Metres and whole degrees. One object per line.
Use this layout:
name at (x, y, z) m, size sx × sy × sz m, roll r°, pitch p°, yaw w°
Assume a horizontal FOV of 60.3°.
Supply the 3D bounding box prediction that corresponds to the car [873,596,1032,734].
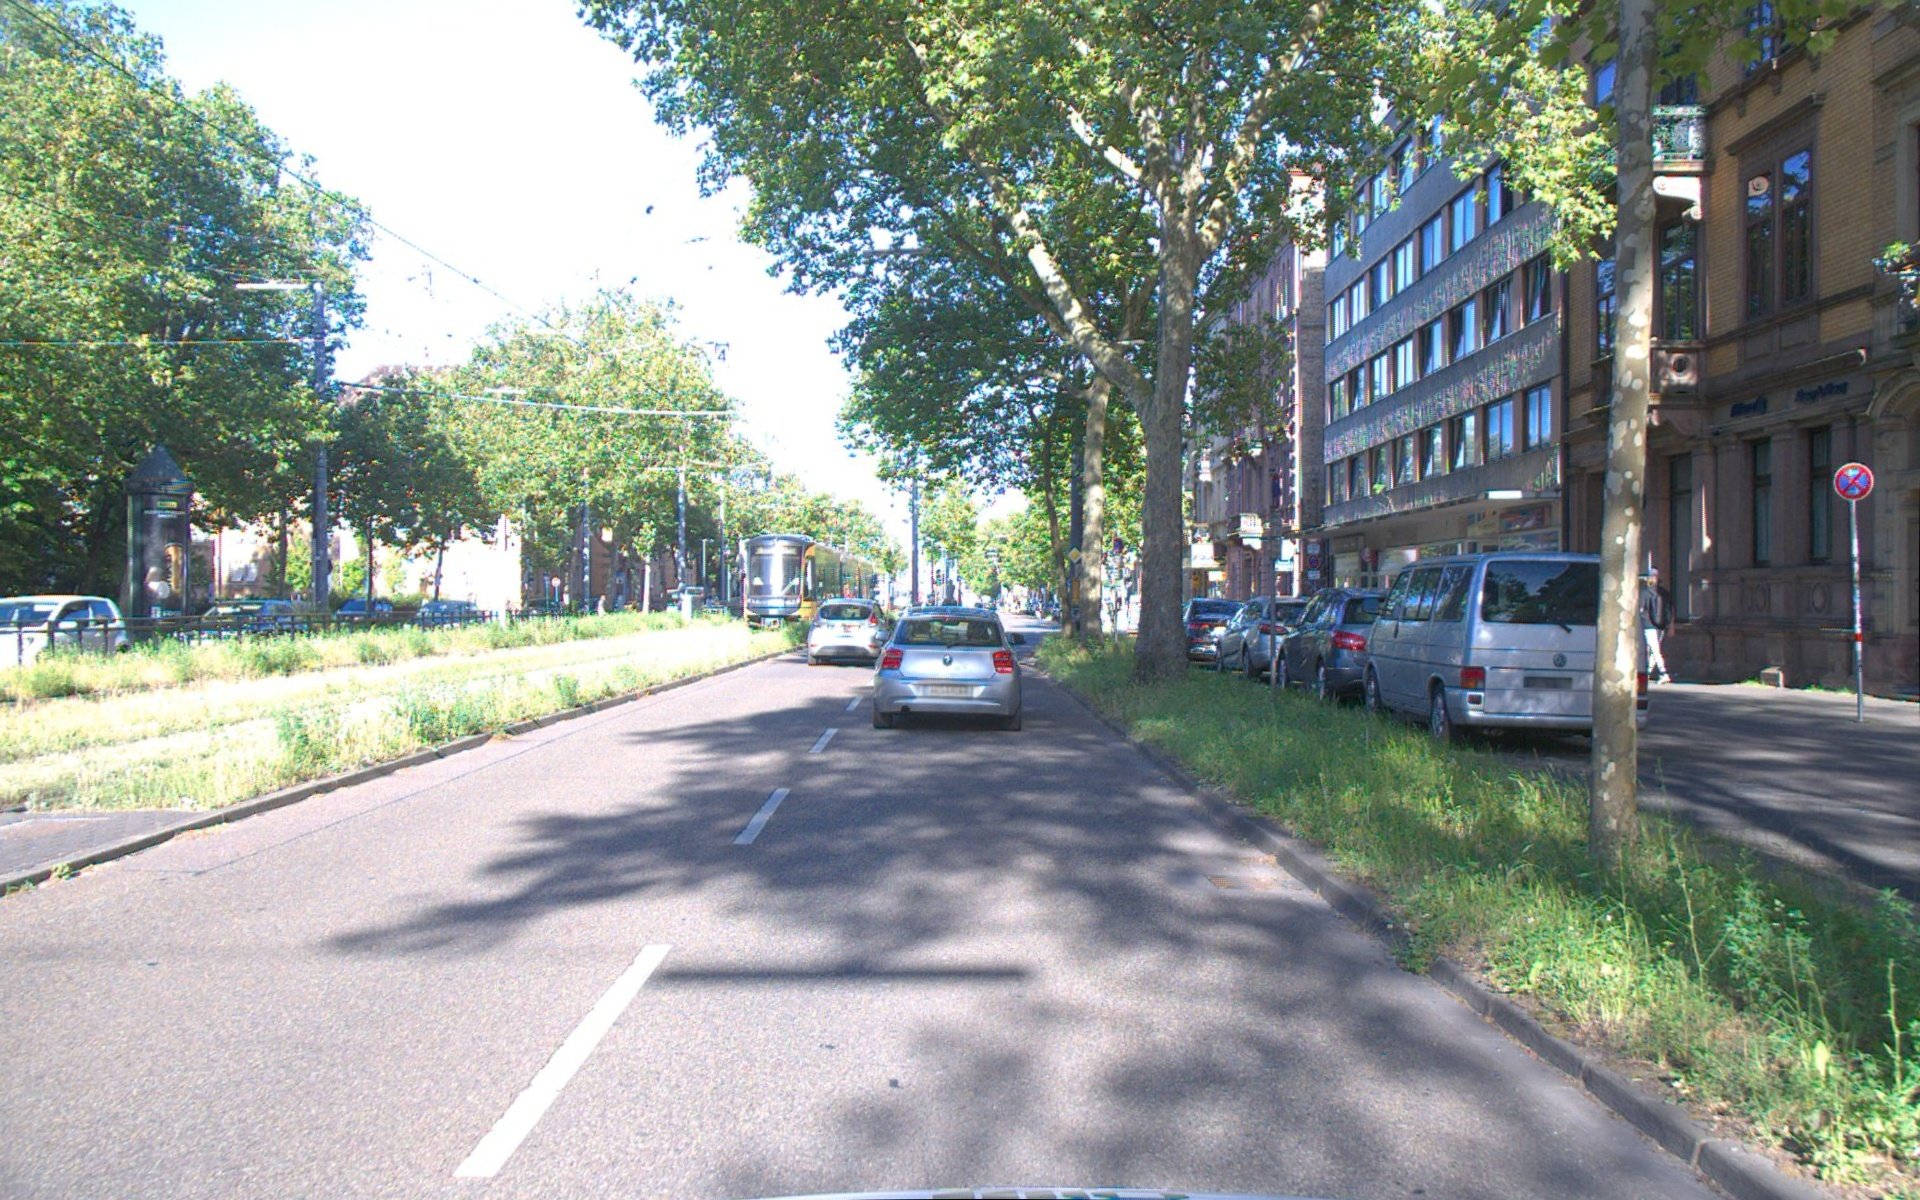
car at (-0.079, 0.720, 20.495) m, size 1.726 × 1.457 × 4.000 m, roll 2°, pitch 1°, yaw 0°

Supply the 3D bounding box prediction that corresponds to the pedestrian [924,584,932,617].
pedestrian at (-1.881, 0.018, 97.992) m, size 0.442 × 1.936 × 0.584 m, roll 0°, pitch 0°, yaw -6°

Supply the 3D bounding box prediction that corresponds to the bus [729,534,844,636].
bus at (-6.398, -0.540, 63.254) m, size 2.810 × 3.504 × 13.218 m, roll 0°, pitch 0°, yaw 1°

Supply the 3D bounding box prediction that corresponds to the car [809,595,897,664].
car at (-2.349, 0.630, 37.125) m, size 1.613 × 1.386 × 3.760 m, roll 2°, pitch 1°, yaw 1°

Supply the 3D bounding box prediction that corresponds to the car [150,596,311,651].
car at (-17.637, 0.532, 40.243) m, size 1.654 × 1.154 × 4.708 m, roll 2°, pitch 1°, yaw 2°

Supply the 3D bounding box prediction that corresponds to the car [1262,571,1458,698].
car at (5.418, 0.426, 22.922) m, size 1.669 × 1.528 × 4.358 m, roll 2°, pitch 0°, yaw 1°

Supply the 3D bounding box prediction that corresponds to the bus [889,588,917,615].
bus at (-8.079, 0.177, 237.397) m, size 2.810 × 3.692 × 24.606 m, roll 1°, pitch 0°, yaw 1°

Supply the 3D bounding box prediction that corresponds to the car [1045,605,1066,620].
car at (9.984, 1.321, 172.435) m, size 1.952 × 1.535 × 4.598 m, roll 2°, pitch -1°, yaw 1°

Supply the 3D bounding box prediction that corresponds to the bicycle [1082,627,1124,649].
bicycle at (6.998, 1.849, 81.076) m, size 1.973 × 1.010 × 0.444 m, roll 2°, pitch 0°, yaw -2°

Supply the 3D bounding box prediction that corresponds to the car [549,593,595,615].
car at (-23.125, 0.258, 98.631) m, size 1.755 × 1.199 × 4.000 m, roll 2°, pitch 0°, yaw 0°

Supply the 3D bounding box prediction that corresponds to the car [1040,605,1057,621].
car at (9.546, 1.392, 177.906) m, size 1.635 × 1.578 × 4.001 m, roll 2°, pitch 1°, yaw 1°

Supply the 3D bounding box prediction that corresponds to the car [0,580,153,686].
car at (-15.081, 0.477, 27.133) m, size 1.807 × 1.556 × 3.873 m, roll 2°, pitch 1°, yaw -1°

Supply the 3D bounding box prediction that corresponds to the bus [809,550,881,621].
bus at (-6.004, -0.725, 87.867) m, size 2.810 × 3.504 × 11.612 m, roll 0°, pitch 0°, yaw 1°

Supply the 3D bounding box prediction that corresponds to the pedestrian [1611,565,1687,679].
pedestrian at (11.457, 0.364, 27.521) m, size 0.979 × 1.872 × 0.715 m, roll 0°, pitch 0°, yaw 2°

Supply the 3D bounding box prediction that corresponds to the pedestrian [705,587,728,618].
pedestrian at (-13.260, 0.129, 90.108) m, size 1.154 × 1.672 × 0.891 m, roll 0°, pitch -1°, yaw -7°

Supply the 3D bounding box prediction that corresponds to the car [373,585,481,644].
car at (-15.582, 0.387, 48.528) m, size 1.757 × 1.579 × 4.048 m, roll 2°, pitch 1°, yaw 1°

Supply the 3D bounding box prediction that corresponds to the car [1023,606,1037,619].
car at (9.255, 1.619, 219.654) m, size 1.665 × 1.561 × 3.717 m, roll 2°, pitch 1°, yaw 1°

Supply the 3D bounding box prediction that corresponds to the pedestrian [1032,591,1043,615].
pedestrian at (6.613, 0.240, 141.340) m, size 0.820 × 2.049 × 0.649 m, roll 2°, pitch 0°, yaw 8°

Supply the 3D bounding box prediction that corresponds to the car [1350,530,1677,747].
car at (5.460, 0.318, 17.037) m, size 1.826 × 1.847 × 4.801 m, roll 2°, pitch 1°, yaw 2°

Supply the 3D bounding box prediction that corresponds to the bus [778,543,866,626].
bus at (-6.179, -0.658, 75.908) m, size 2.810 × 3.504 × 12.216 m, roll 0°, pitch 0°, yaw 1°

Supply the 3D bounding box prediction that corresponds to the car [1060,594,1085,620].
car at (8.907, 0.527, 131.226) m, size 1.718 × 1.999 × 4.737 m, roll 1°, pitch 0°, yaw 0°

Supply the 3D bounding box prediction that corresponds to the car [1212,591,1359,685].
car at (5.722, 0.630, 29.556) m, size 1.643 × 1.492 × 4.669 m, roll 2°, pitch 0°, yaw 0°

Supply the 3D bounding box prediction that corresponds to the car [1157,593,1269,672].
car at (5.387, 0.658, 35.765) m, size 1.768 × 1.516 × 4.920 m, roll 2°, pitch 0°, yaw 2°

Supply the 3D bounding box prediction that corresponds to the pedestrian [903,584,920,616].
pedestrian at (-3.018, -0.012, 102.943) m, size 1.050 × 1.949 × 1.126 m, roll 0°, pitch 0°, yaw -1°
